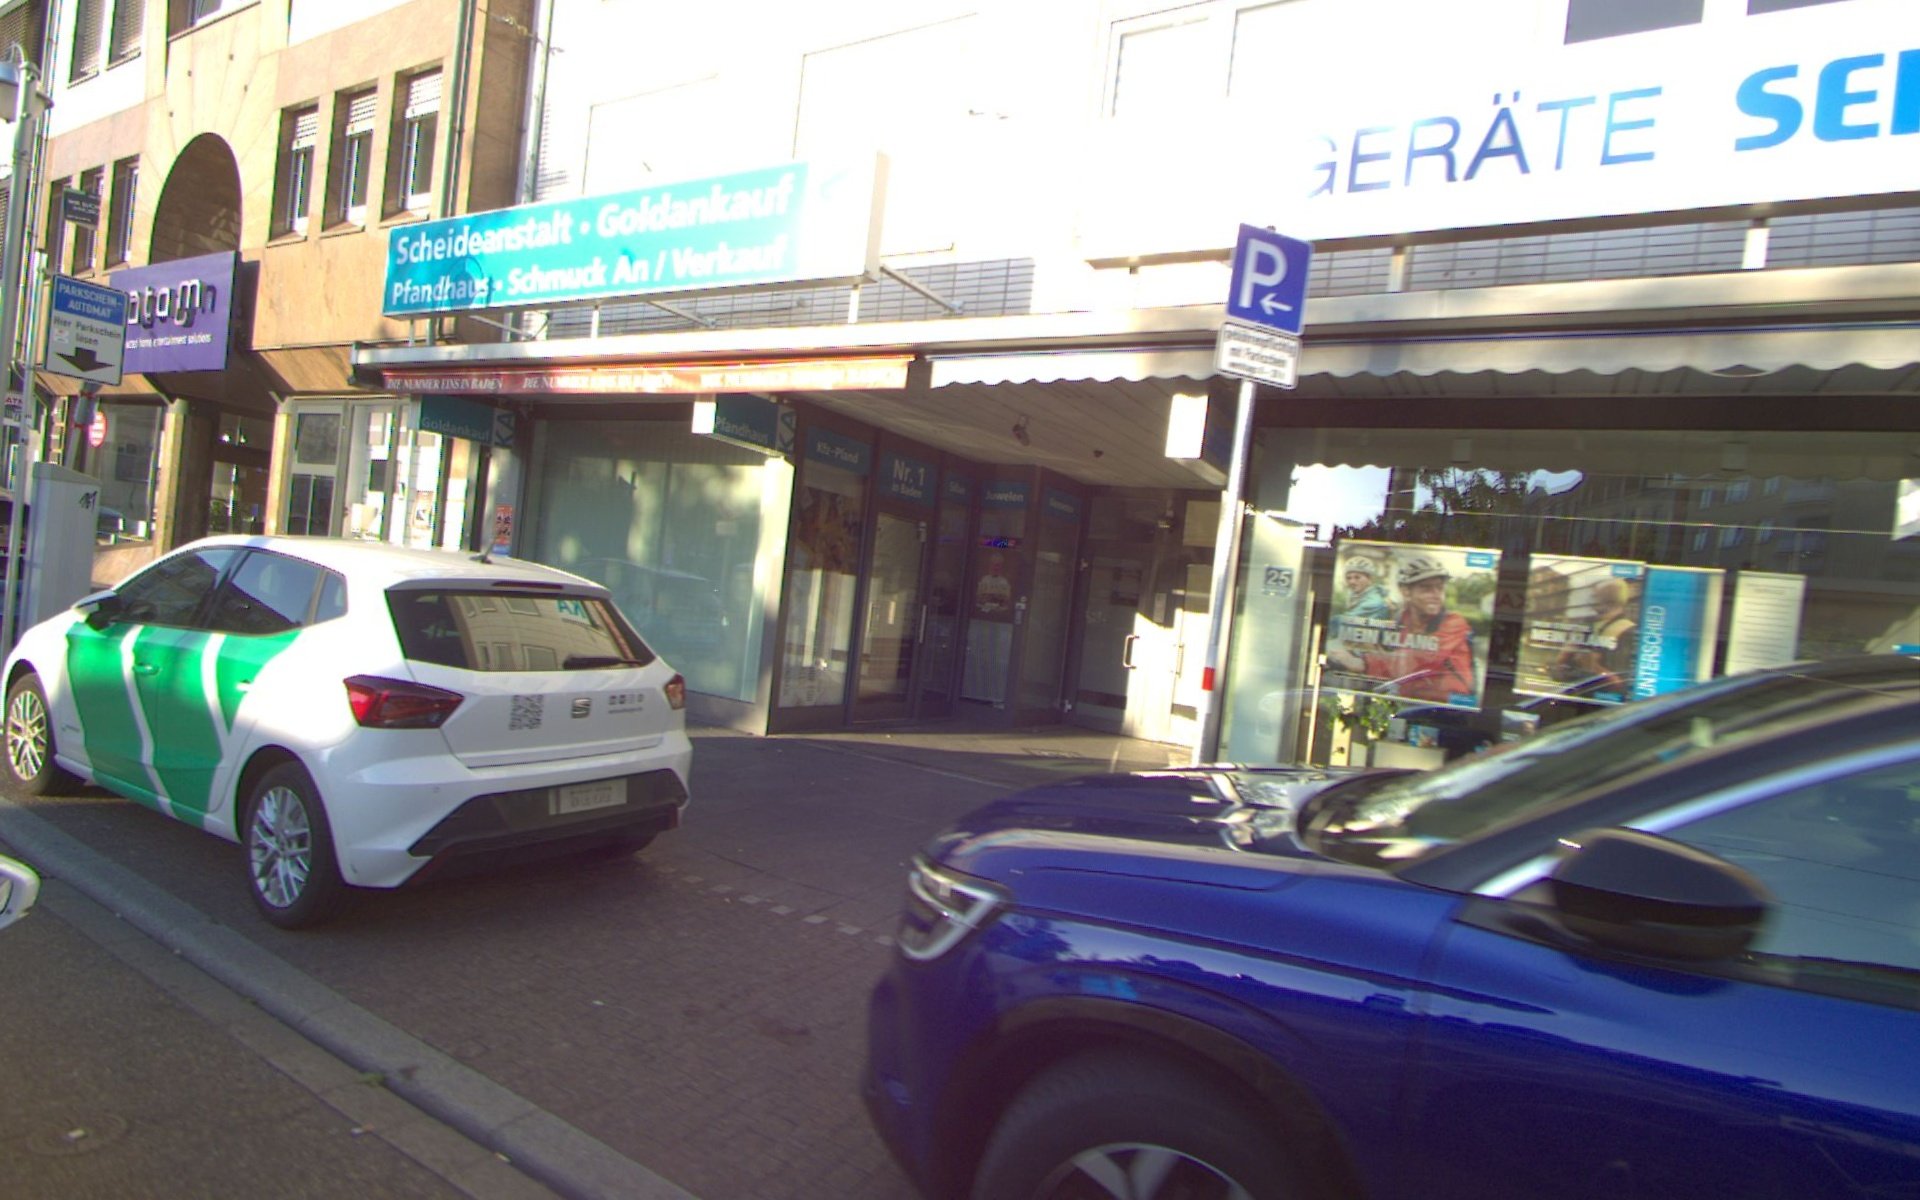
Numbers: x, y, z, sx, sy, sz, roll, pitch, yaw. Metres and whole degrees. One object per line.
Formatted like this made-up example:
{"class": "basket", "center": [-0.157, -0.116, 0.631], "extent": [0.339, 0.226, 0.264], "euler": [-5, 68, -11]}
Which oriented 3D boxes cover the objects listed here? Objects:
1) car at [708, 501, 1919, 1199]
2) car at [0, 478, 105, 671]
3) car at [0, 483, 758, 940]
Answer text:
{"class": "car", "center": [1.757, 0.855, 1.900], "extent": [4.215, 1.625, 1.767], "euler": [7, 0, 31]}
{"class": "car", "center": [-9.980, -0.452, 9.165], "extent": [4.755, 1.571, 1.812], "euler": [7, 0, 31]}
{"class": "car", "center": [-3.210, 0.296, 5.086], "extent": [4.082, 1.453, 1.733], "euler": [5, 0, 30]}
